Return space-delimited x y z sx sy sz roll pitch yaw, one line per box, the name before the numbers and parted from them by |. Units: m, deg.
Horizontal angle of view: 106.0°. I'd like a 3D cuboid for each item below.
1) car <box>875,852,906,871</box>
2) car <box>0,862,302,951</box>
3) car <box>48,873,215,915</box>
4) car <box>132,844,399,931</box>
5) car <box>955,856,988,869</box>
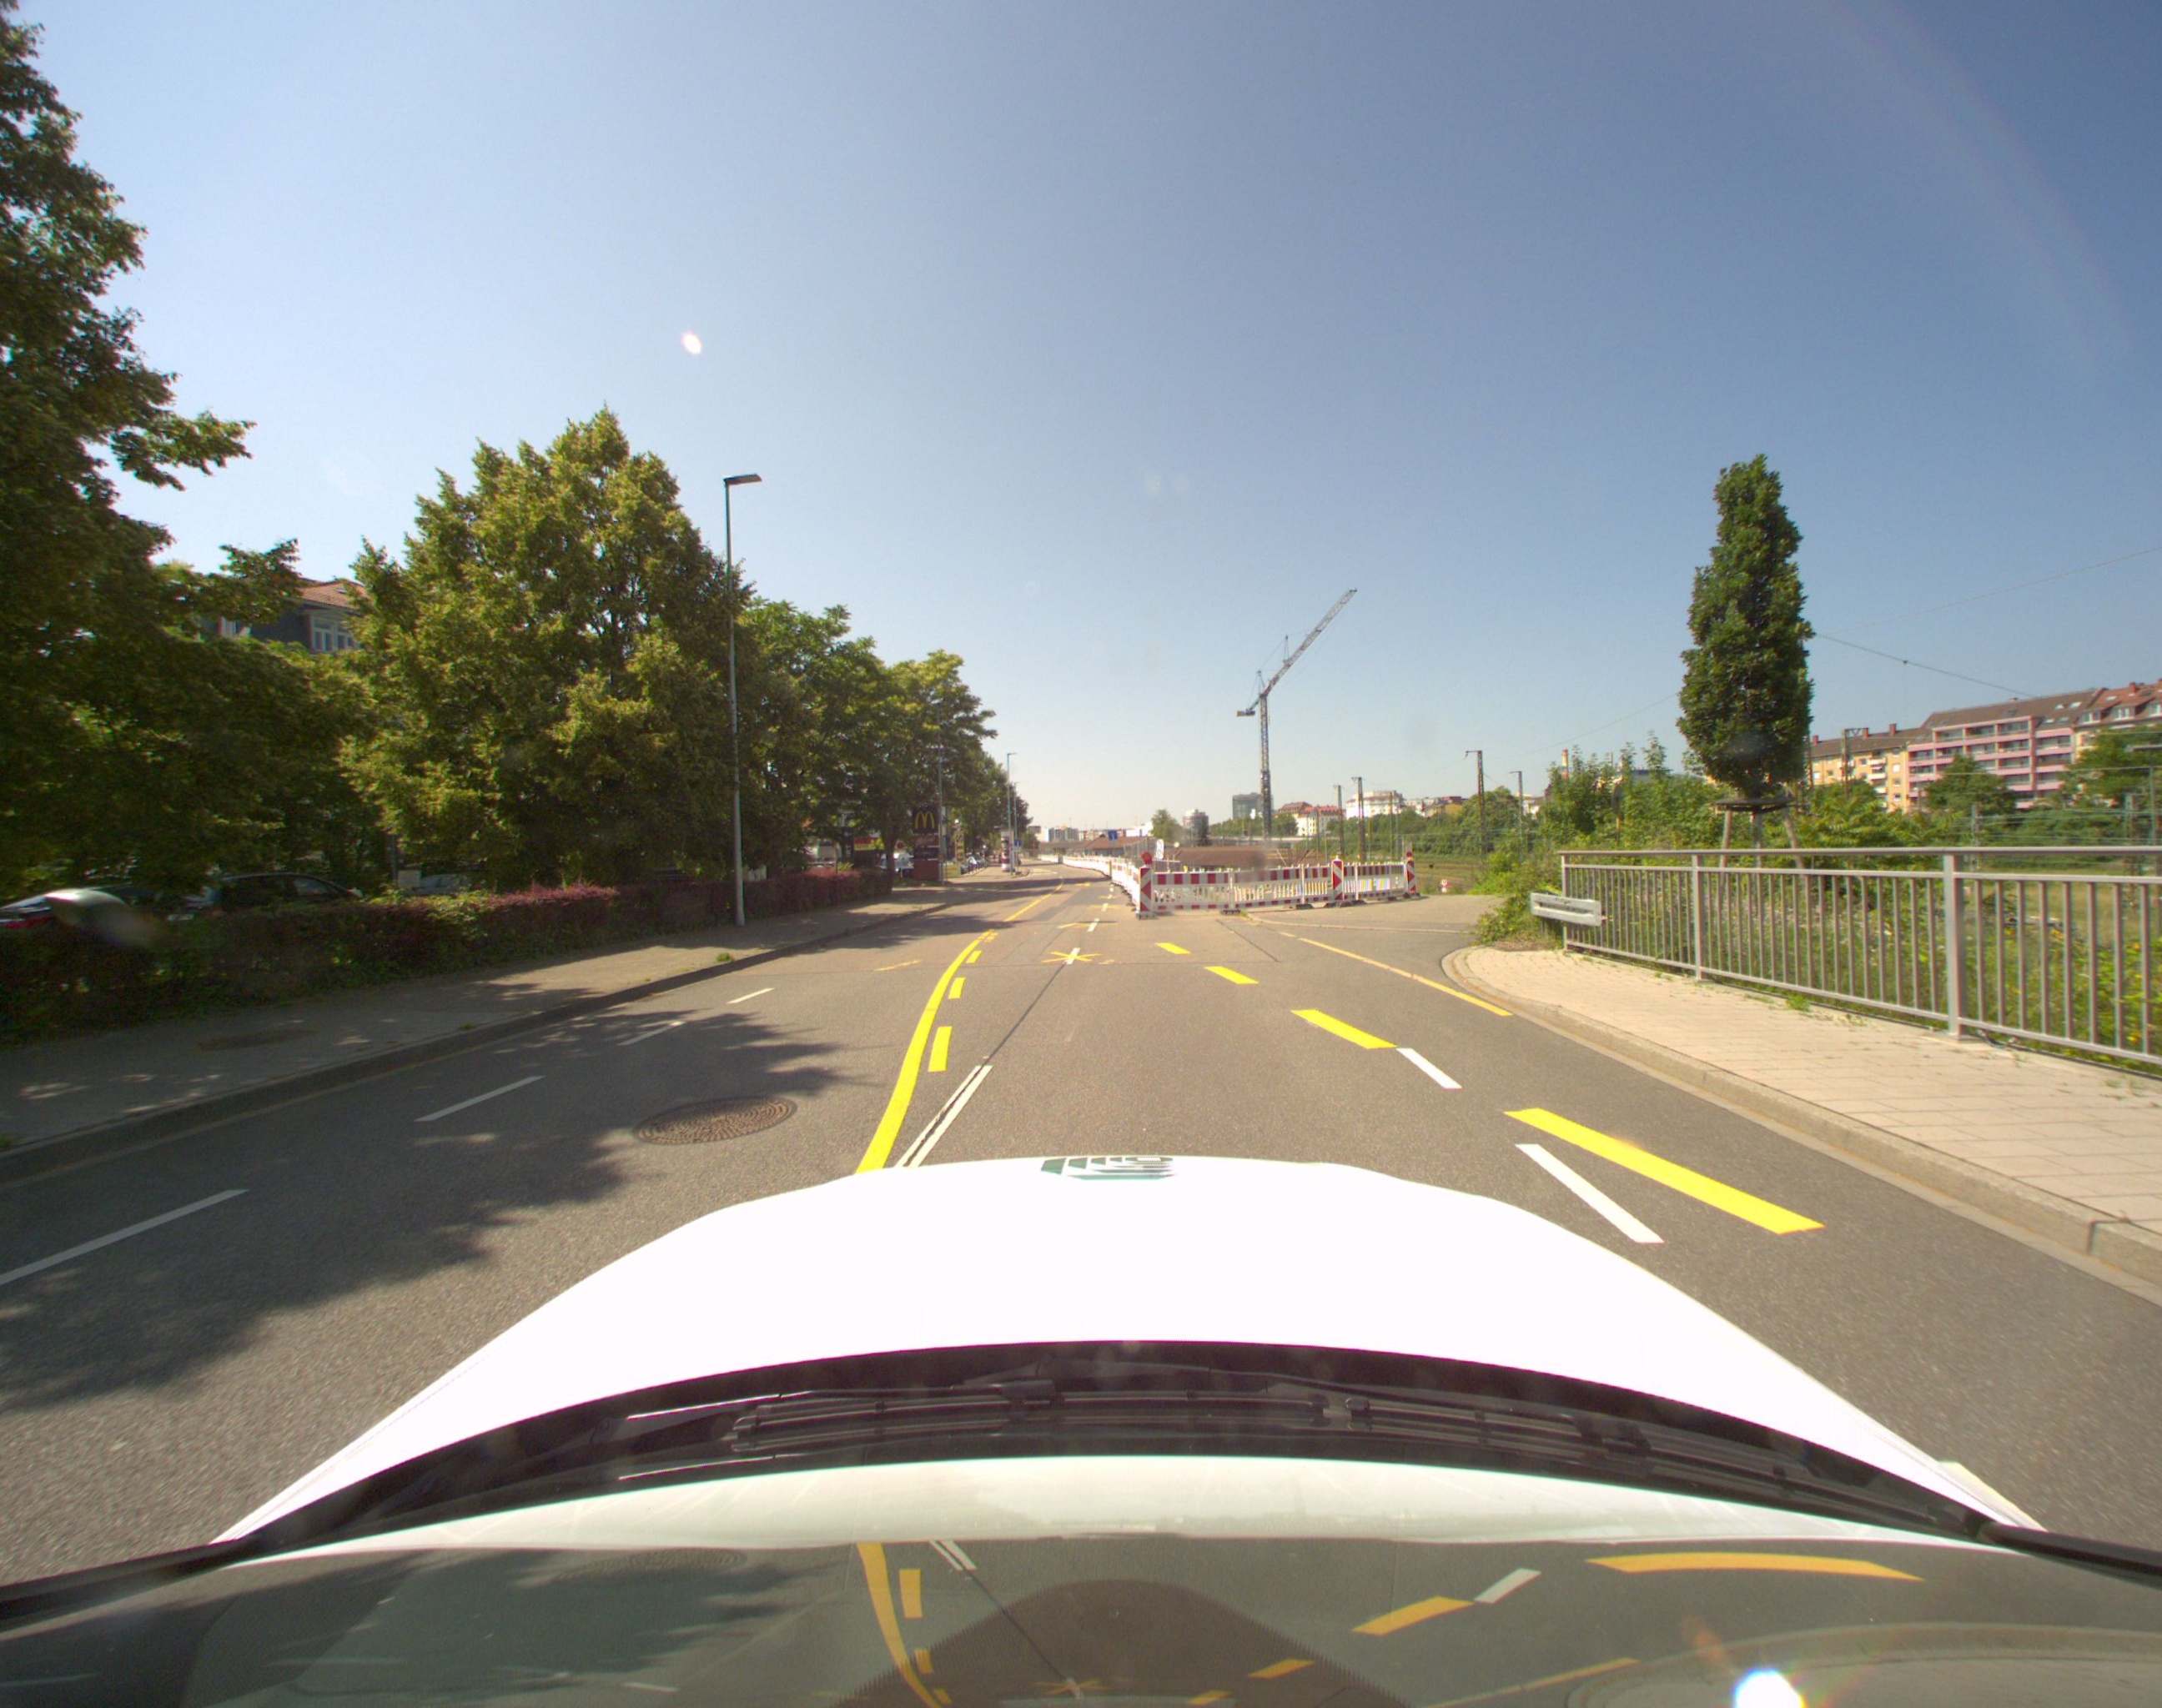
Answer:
car | -19.770 0.793 84.239 2.006 1.904 3.961 -2 0 -31
car | -19.556 0.989 17.038 1.775 1.510 4.661 -2 0 4
car | -30.139 1.251 25.937 3.375 1.090 1.404 -2 0 -6
car | -17.059 0.620 17.334 1.674 1.603 3.761 -2 0 4
car | -13.684 1.058 101.803 3.646 1.421 1.580 -2 0 18
